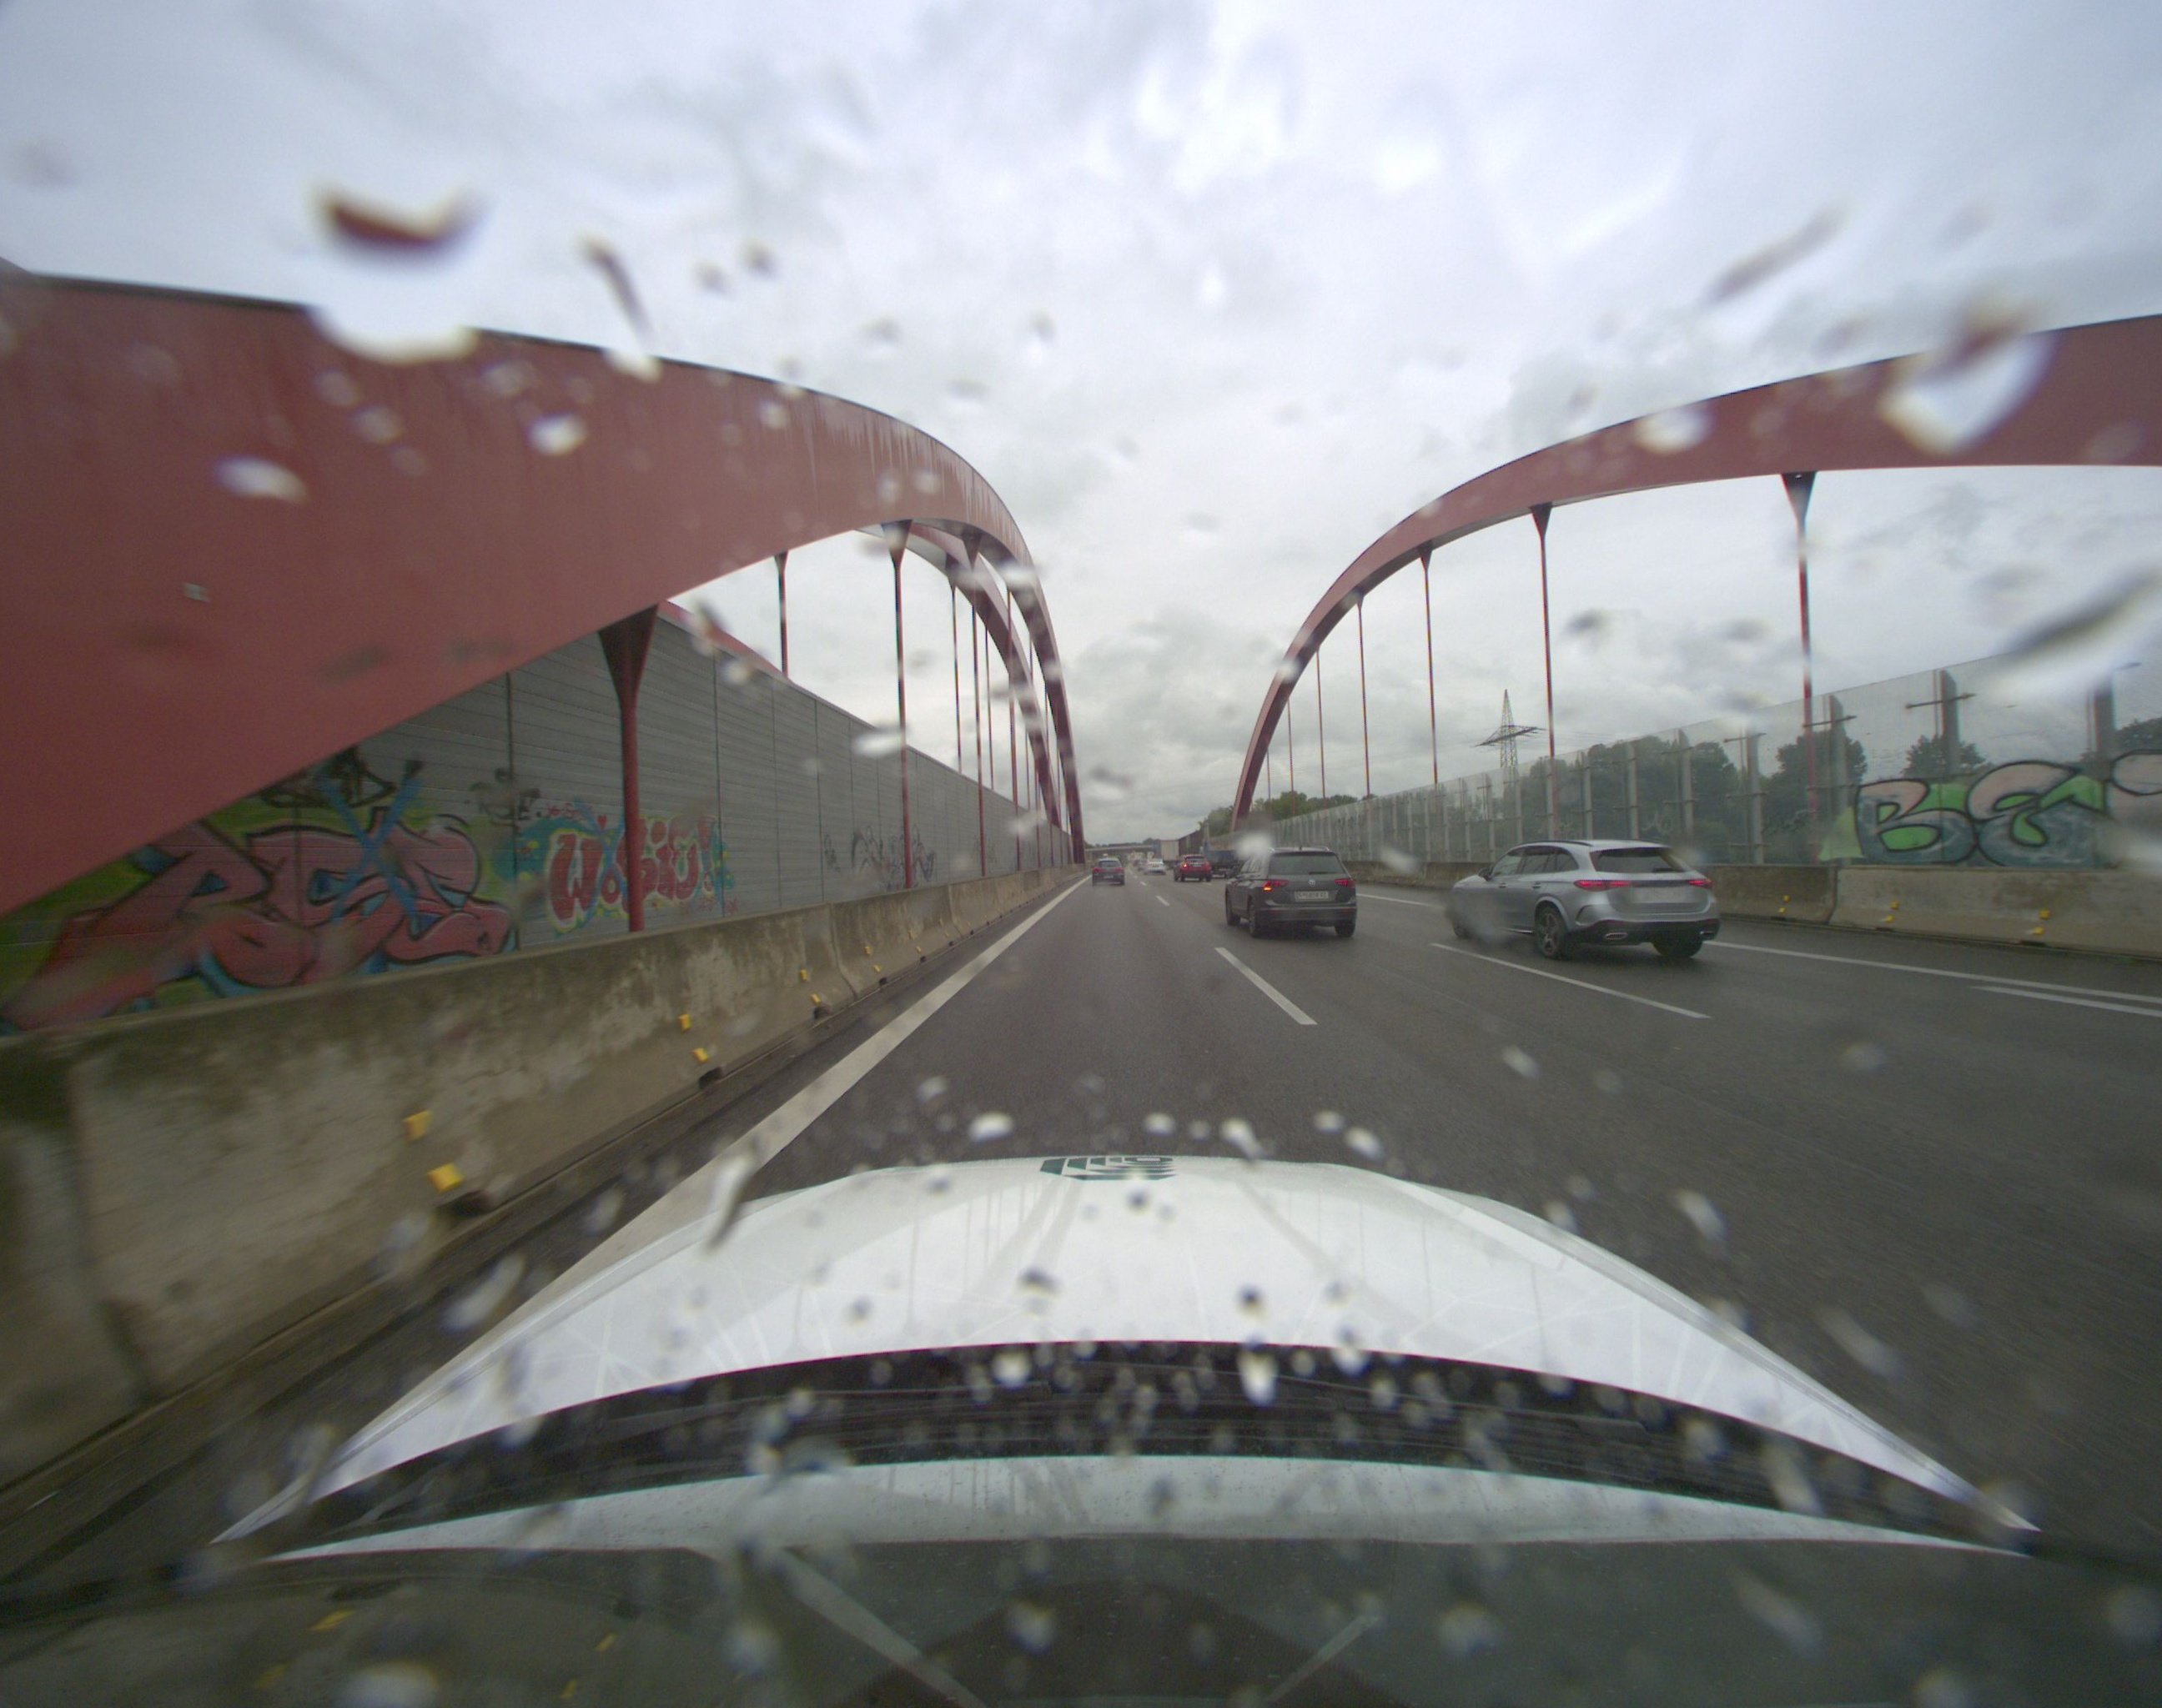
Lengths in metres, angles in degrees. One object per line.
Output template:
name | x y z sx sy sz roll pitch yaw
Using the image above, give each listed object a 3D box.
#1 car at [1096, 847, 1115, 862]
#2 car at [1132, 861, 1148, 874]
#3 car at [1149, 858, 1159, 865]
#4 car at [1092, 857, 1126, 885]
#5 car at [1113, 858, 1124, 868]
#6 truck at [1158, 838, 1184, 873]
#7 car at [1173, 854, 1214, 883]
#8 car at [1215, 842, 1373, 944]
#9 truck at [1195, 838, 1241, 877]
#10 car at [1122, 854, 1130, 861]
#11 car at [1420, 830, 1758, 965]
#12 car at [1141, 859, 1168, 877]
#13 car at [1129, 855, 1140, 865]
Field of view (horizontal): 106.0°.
car | 2.729 0.052 92.474 1.987 1.585 4.000 -2 0 0
car | 7.166 1.614 98.449 1.696 1.543 3.839 -1 0 1
car | 15.557 1.531 173.025 1.985 1.519 4.003 -1 0 3
car | 1.521 0.896 44.343 1.757 1.453 4.002 -1 0 2
car | 7.329 1.737 159.009 1.986 1.815 4.001 -1 0 2
truck | 12.480 0.208 113.969 3.033 4.734 7.682 0 -1 2
car | 6.681 0.840 48.778 1.950 1.647 4.000 -2 0 1
car | 3.886 0.659 15.622 1.906 1.670 4.103 -1 0 0
truck | 9.436 0.249 56.566 2.352 2.506 6.146 -1 0 2
car | 10.734 0.876 194.592 1.985 1.624 4.004 -1 0 4
car | 7.364 0.555 12.687 1.986 1.619 5.328 -1 -1 1
car | 6.396 1.231 71.190 1.986 1.486 4.000 -1 0 1
car | 10.370 1.146 158.164 1.986 2.014 4.001 0 -1 2
